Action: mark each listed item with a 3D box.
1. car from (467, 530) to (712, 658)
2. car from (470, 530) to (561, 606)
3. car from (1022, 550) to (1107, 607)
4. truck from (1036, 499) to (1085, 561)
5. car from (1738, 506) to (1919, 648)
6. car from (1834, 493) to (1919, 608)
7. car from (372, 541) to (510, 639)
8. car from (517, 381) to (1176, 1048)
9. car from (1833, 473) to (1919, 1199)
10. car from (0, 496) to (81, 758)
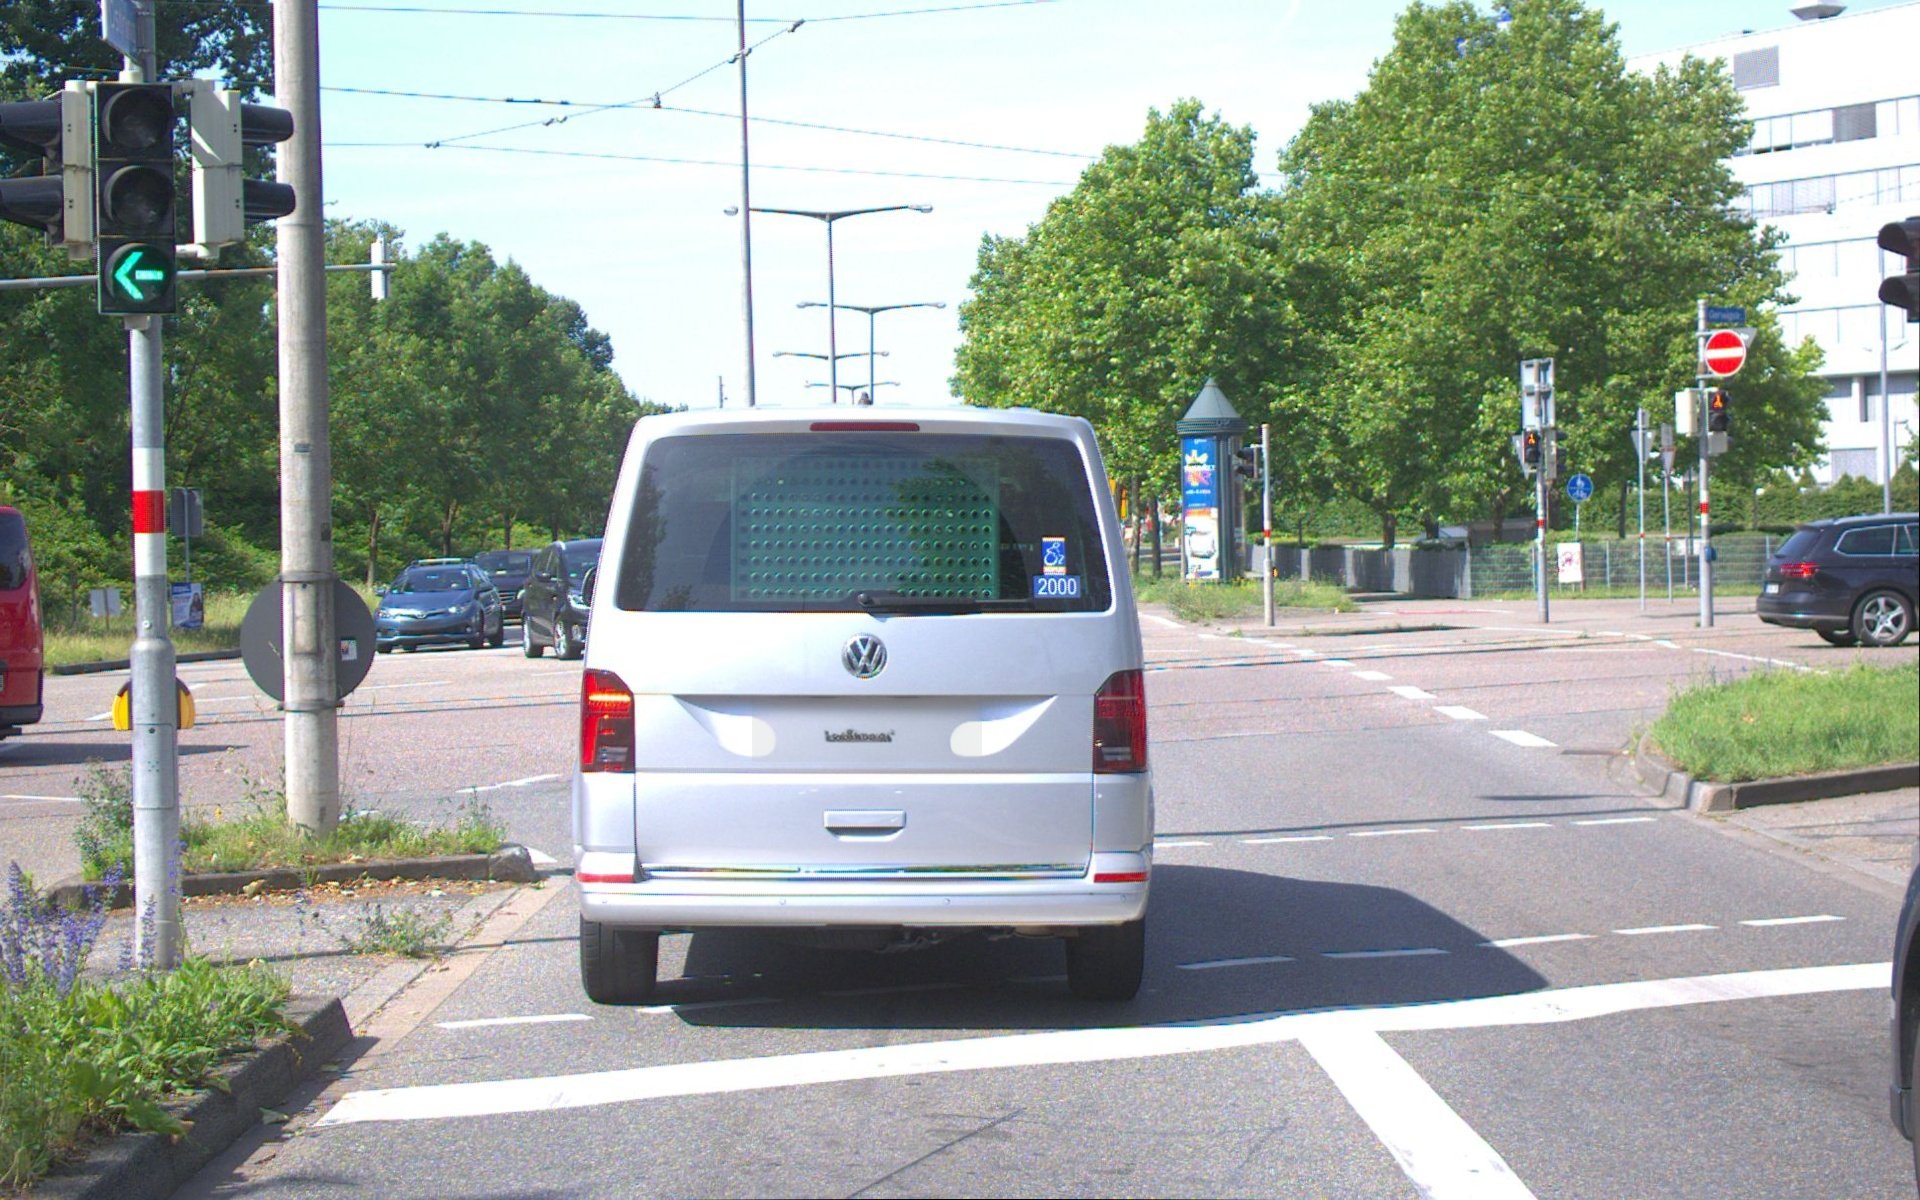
[{"bbox_3d":[-5.065,-0.095,46.489,1.808,1.600,4.379,-2,1,-27],"label":"car"},{"bbox_3d":[-11.021,-0.811,85.442,1.849,1.808,4.001,-2,1,-2],"label":"car"},{"bbox_3d":[2.444,-0.516,79.876,1.643,1.232,3.252,-1,1,7],"label":"car"},{"bbox_3d":[7.388,-5.109,251.188,3.191,4.340,13.146,-1,1,3],"label":"truck"},{"bbox_3d":[11.047,-0.301,38.201,4.380,1.505,1.851,-1,1,2],"label":"car"},{"bbox_3d":[15.544,-0.798,52.136,4.613,1.683,1.915,-2,1,-36],"label":"car"},{"bbox_3d":[-8.761,-0.194,58.300,1.849,1.556,4.001,-2,1,-2],"label":"car"},{"bbox_3d":[-0.352,0.304,12.763,1.941,1.965,5.022,-1,1,0],"label":"car"},{"bbox_3d":[2.882,0.600,5.437,1.766,1.653,4.496,1,1,-1],"label":"car"},{"bbox_3d":[-9.132,0.235,26.067,4.552,1.918,1.972,-1,1,26],"label":"car"}]
